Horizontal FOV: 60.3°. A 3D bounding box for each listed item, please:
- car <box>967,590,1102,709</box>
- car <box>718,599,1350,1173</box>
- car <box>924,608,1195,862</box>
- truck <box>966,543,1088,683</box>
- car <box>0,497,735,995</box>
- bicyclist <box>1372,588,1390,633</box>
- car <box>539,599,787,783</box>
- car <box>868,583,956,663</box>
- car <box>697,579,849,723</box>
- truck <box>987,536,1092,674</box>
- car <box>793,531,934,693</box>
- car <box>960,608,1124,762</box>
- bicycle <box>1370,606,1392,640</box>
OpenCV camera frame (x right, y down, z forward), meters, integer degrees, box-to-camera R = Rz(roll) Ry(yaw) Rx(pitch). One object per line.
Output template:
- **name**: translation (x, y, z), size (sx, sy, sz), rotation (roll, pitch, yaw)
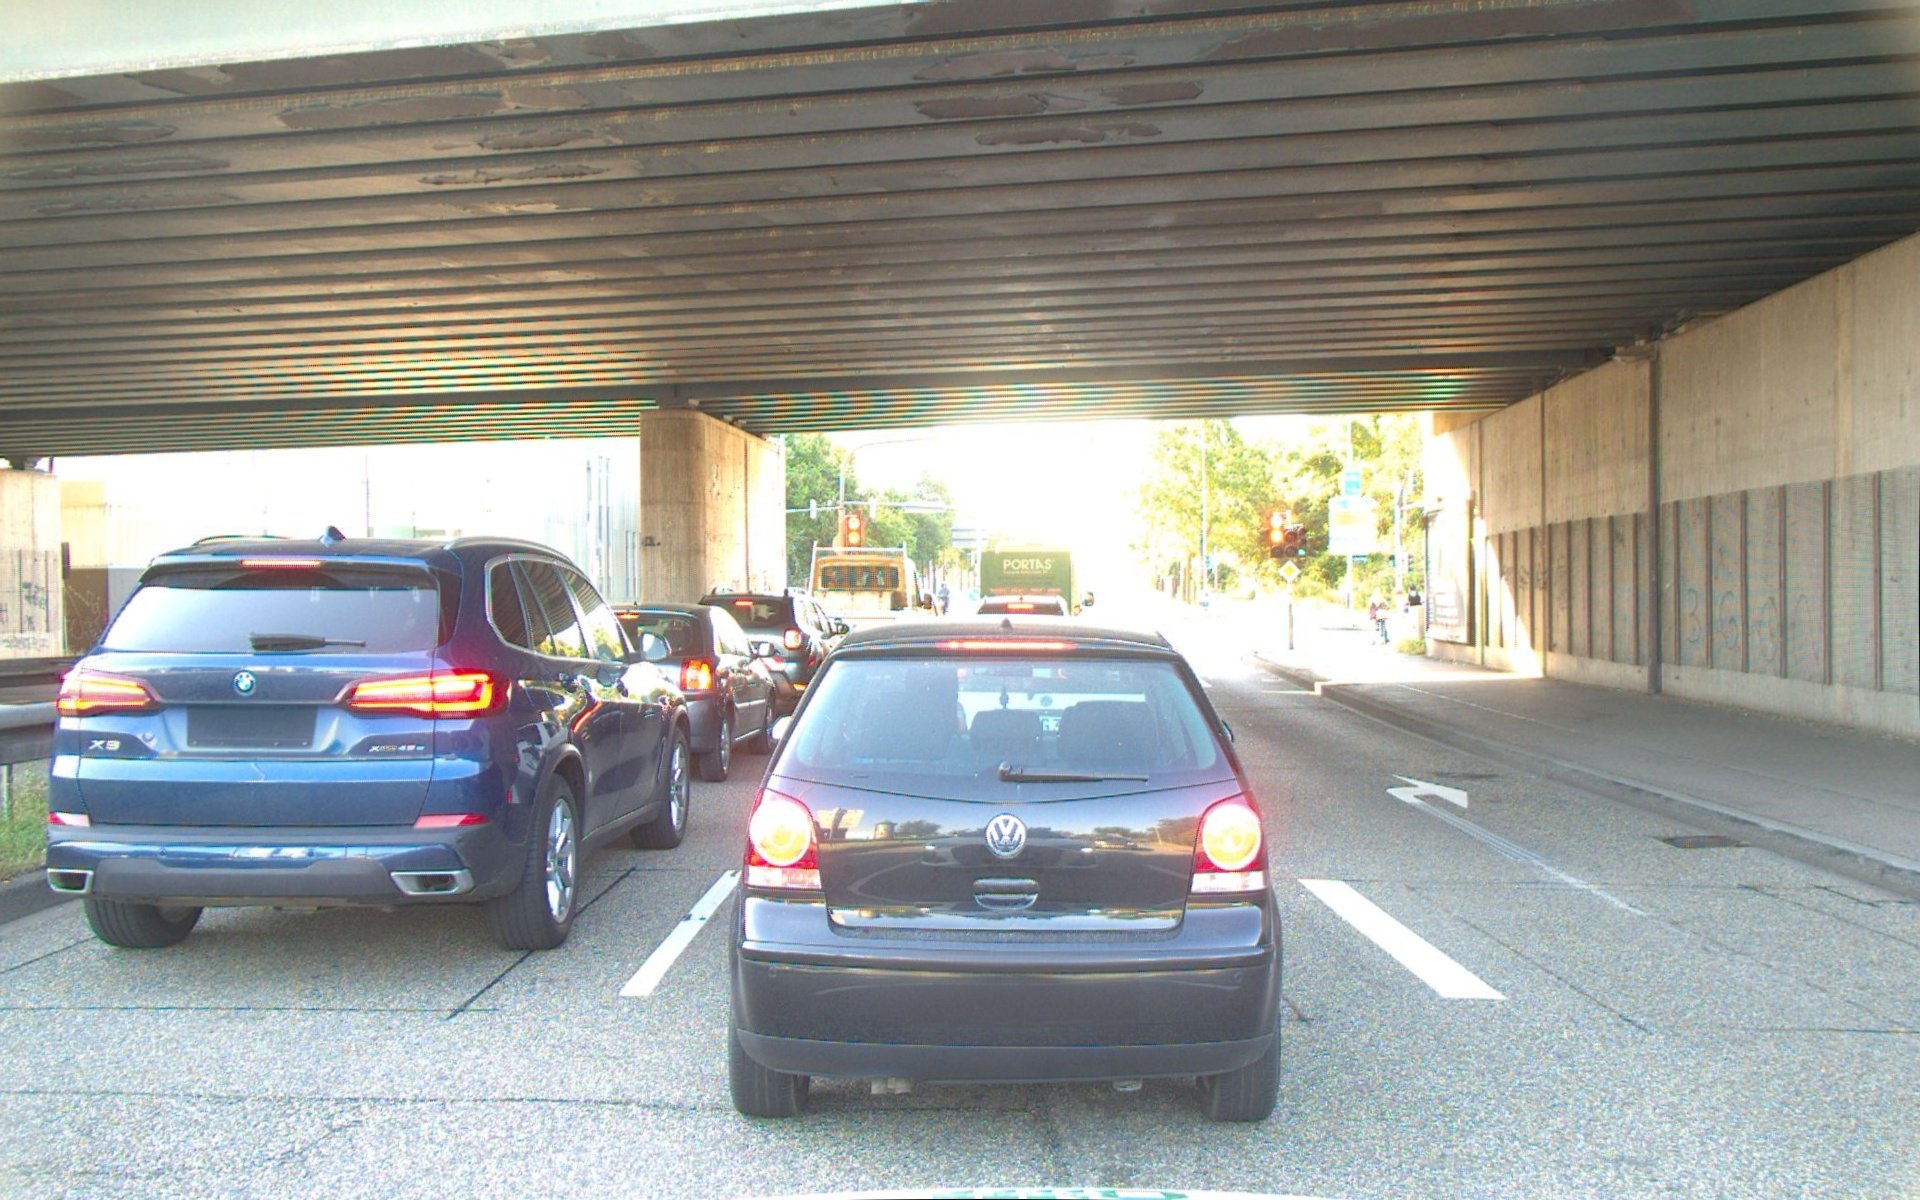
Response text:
- **car**: translation (1.188, 0.689, 24.540), size (1.758, 1.586, 4.003), rotation (1, 0, 6)
- **car**: translation (0.114, 0.735, 6.023), size (1.584, 1.434, 3.681), rotation (1, 0, -3)
- **car**: translation (0.596, 0.788, 11.584), size (1.546, 1.438, 4.062), rotation (1, 0, 1)
- **truck**: translation (1.297, 0.232, 30.261), size (1.954, 2.356, 4.003), rotation (1, 0, 6)
- **car**: translation (-2.528, 0.532, 8.261), size (1.952, 1.764, 4.534), rotation (1, 0, 3)
- **bicyclist**: translation (11.889, 0.288, 46.738), size (0.418, 1.254, 0.460), rotation (-1, -1, 6)
- **car**: translation (-2.550, 0.727, 14.968), size (1.583, 1.434, 3.682), rotation (1, 0, 0)
- **car**: translation (-1.052, 0.518, 37.751), size (1.582, 1.709, 3.685), rotation (1, 0, 5)
- **car**: translation (-2.376, 0.621, 21.755), size (1.583, 1.709, 3.682), rotation (1, 0, 0)
- **truck**: translation (1.737, 0.113, 34.965), size (1.954, 2.715, 4.003), rotation (1, 0, 6)
- **car**: translation (-1.619, 0.211, 29.651), size (2.092, 2.621, 5.087), rotation (1, 0, 1)
- **car**: translation (0.805, 0.818, 17.816), size (1.546, 1.438, 4.062), rotation (1, 0, 1)
- **bicycle**: translation (11.893, 0.654, 46.713), size (0.428, 0.930, 1.027), rotation (-2, -1, 6)
